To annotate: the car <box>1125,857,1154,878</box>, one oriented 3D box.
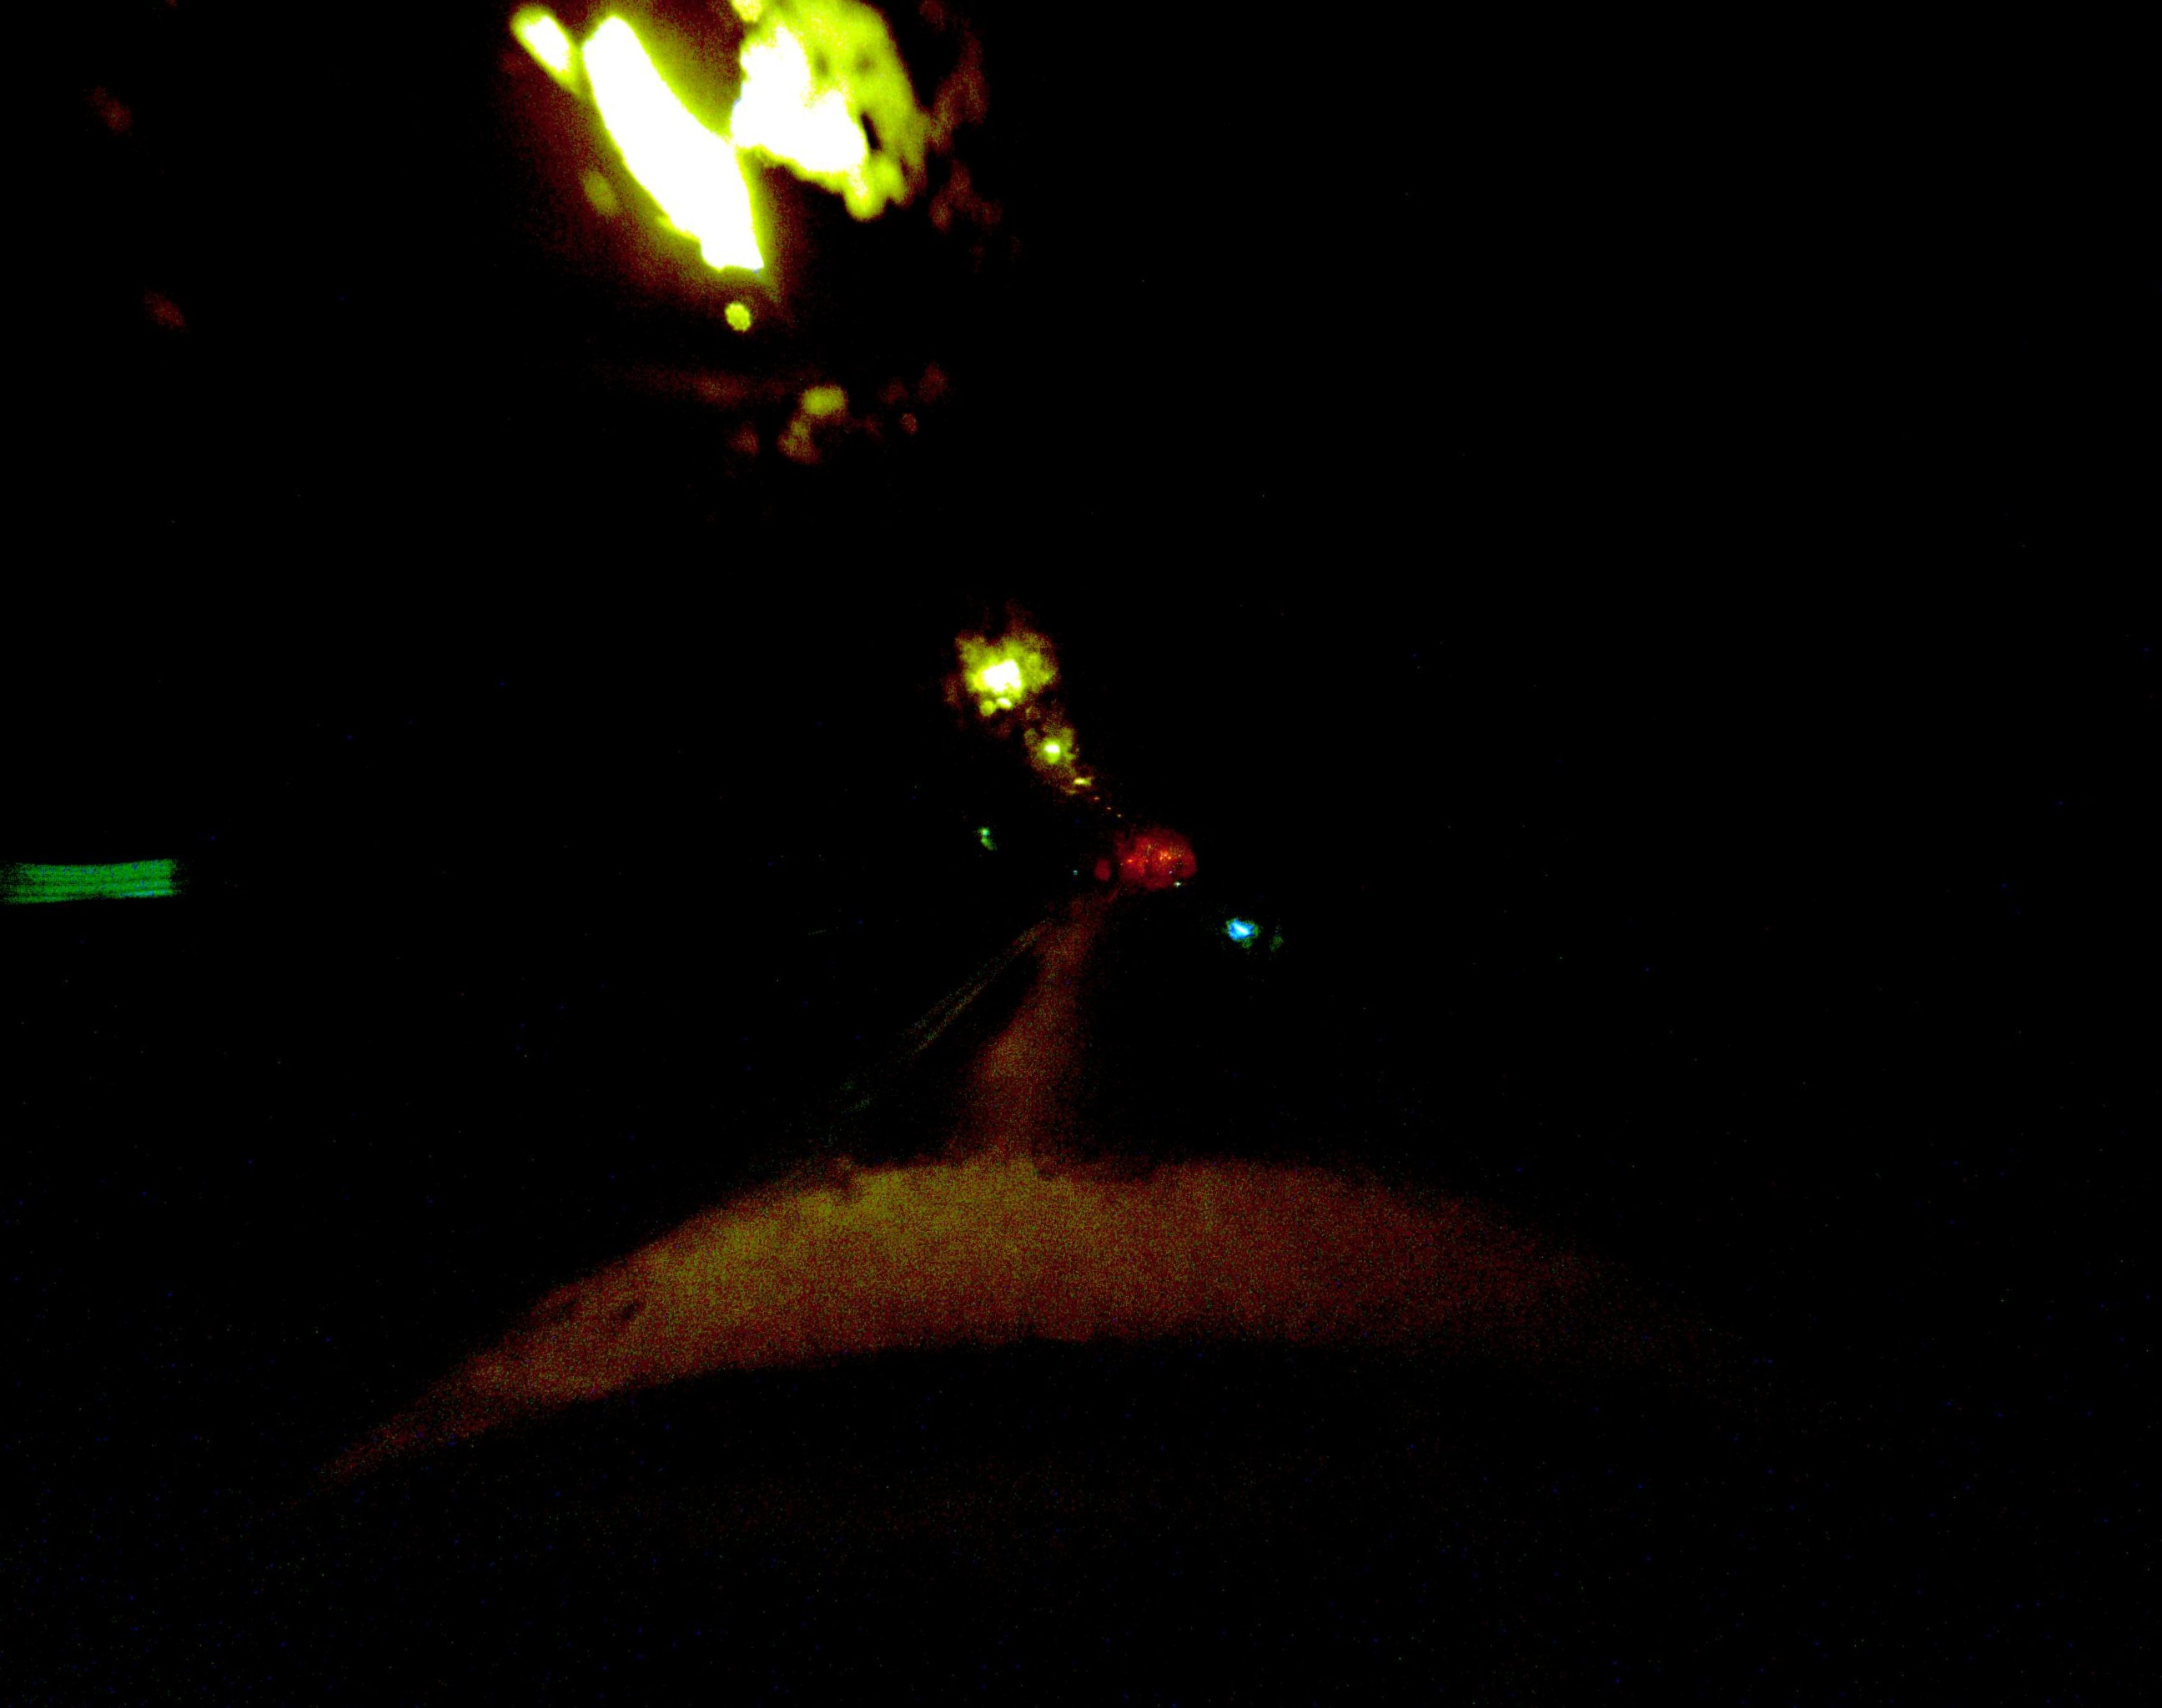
[{"bbox_3d":[4.777,1.082,65.791,2.078,1.662,4.008,-1,-1,7],"label":"car"}]
